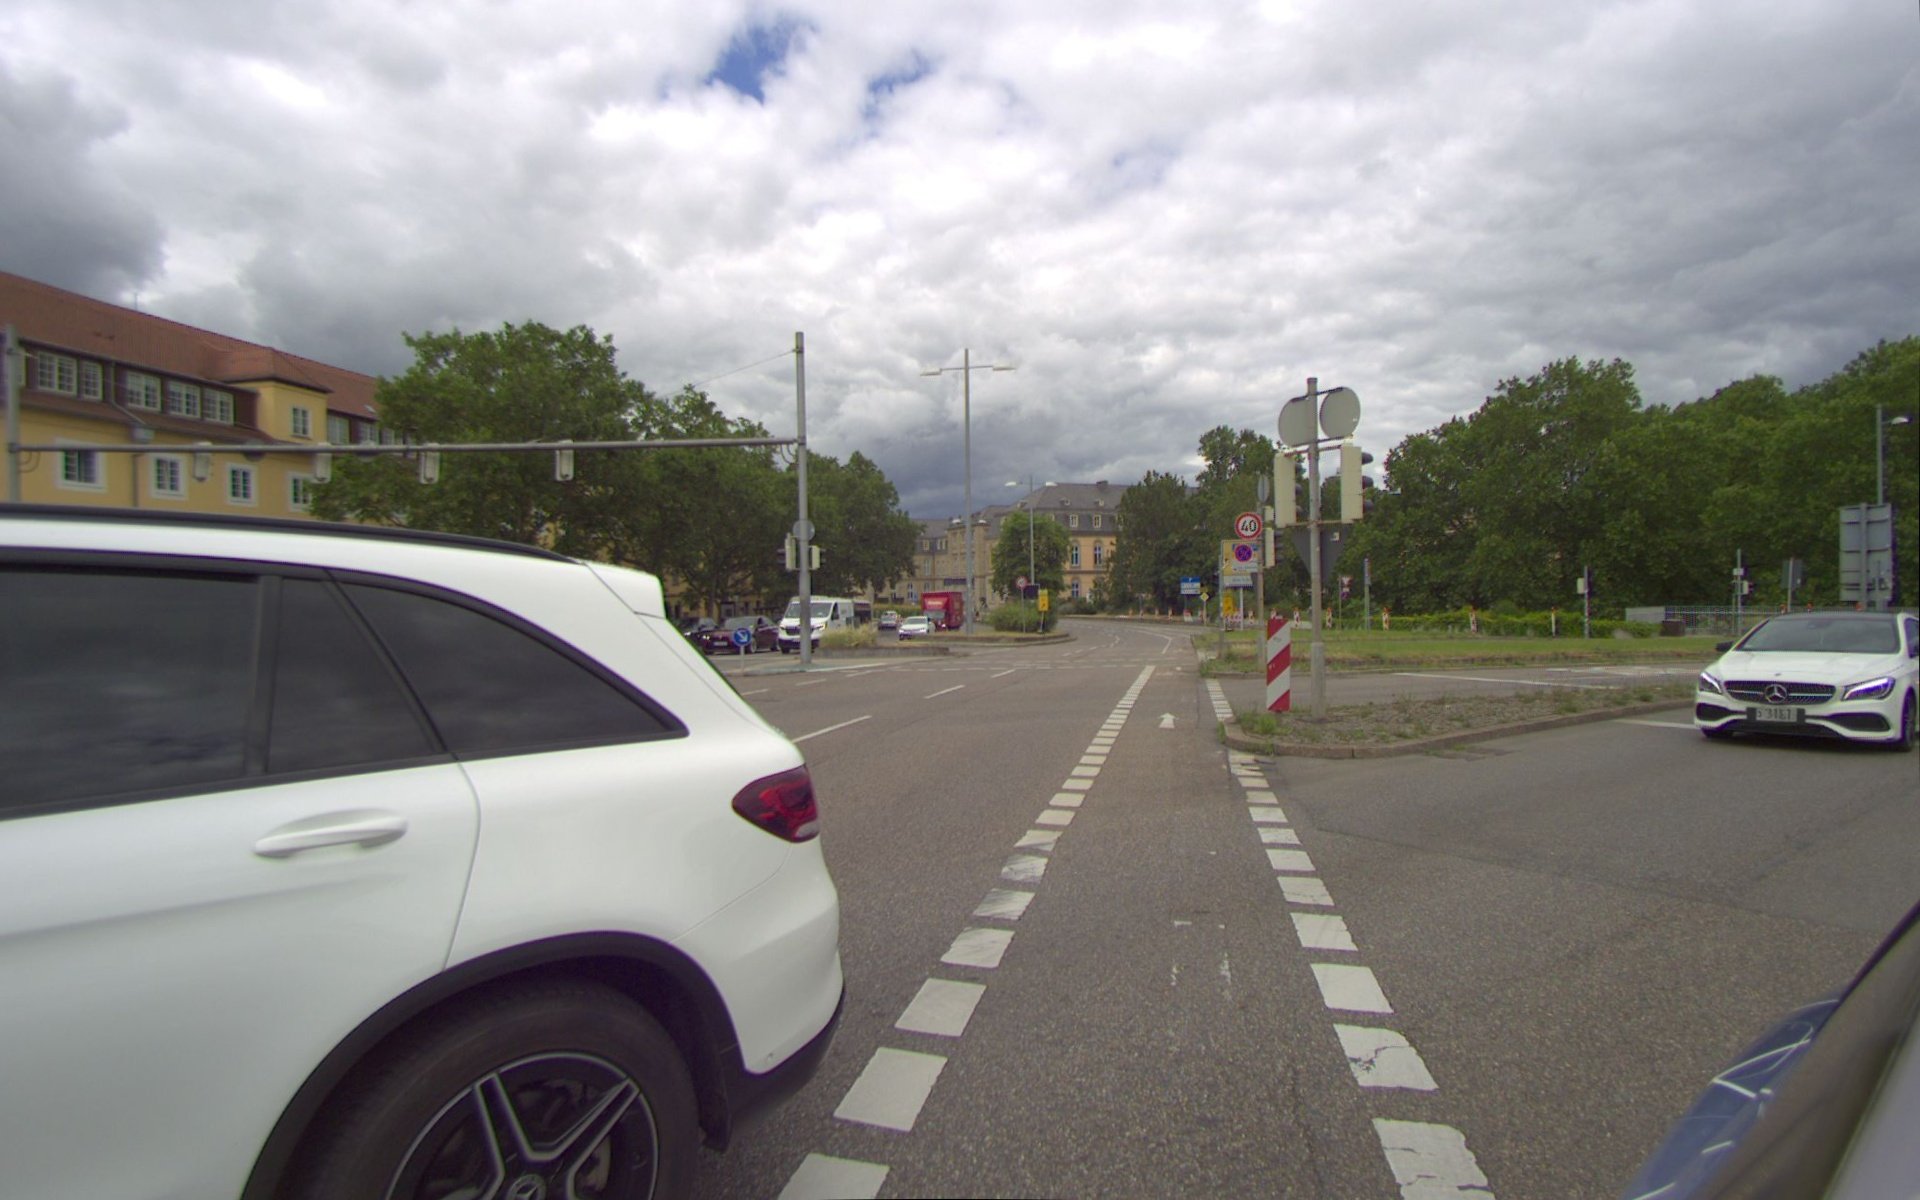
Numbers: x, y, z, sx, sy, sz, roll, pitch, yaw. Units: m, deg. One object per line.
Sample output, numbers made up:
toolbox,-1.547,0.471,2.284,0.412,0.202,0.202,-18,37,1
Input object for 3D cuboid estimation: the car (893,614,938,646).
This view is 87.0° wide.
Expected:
car,-2.578,1.747,59.624,1.967,1.776,3.950,0,-1,9

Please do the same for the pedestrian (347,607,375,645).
pedestrian,-22.301,0.949,37.695,0.670,1.397,0.578,0,-1,7

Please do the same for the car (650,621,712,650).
car,-13.046,1.637,47.435,1.597,1.251,3.229,0,-1,10

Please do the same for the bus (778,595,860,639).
bus,-11.052,1.314,80.970,3.376,3.244,13.037,-1,-1,6

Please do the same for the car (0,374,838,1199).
car,-2.457,0.526,1.550,4.258,1.667,1.804,1,-1,-41

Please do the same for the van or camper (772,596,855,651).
van or camper,-5.407,0.855,38.026,1.835,1.941,4.701,0,-1,9

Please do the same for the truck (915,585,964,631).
truck,-1.592,0.671,83.619,2.745,3.534,8.329,0,-1,8

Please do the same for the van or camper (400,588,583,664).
van or camper,-15.372,0.818,33.769,2.338,2.291,6.265,0,-1,11

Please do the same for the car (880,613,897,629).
car,-9.213,2.720,131.181,1.962,2.039,4.000,0,-1,-1

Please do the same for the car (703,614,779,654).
car,-8.226,1.250,38.331,1.711,1.418,3.704,0,-1,7

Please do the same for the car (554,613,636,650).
car,-14.159,1.205,39.465,1.588,1.372,3.477,0,-1,8

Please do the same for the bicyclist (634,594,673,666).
bicyclist,-7.277,0.703,24.053,0.503,1.661,0.711,-1,-2,39

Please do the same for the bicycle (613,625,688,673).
bicycle,-7.317,1.139,23.992,0.503,1.086,1.704,-1,-1,39

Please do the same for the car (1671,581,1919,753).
car,10.017,0.644,11.473,4.565,1.589,1.870,1,-1,-37
